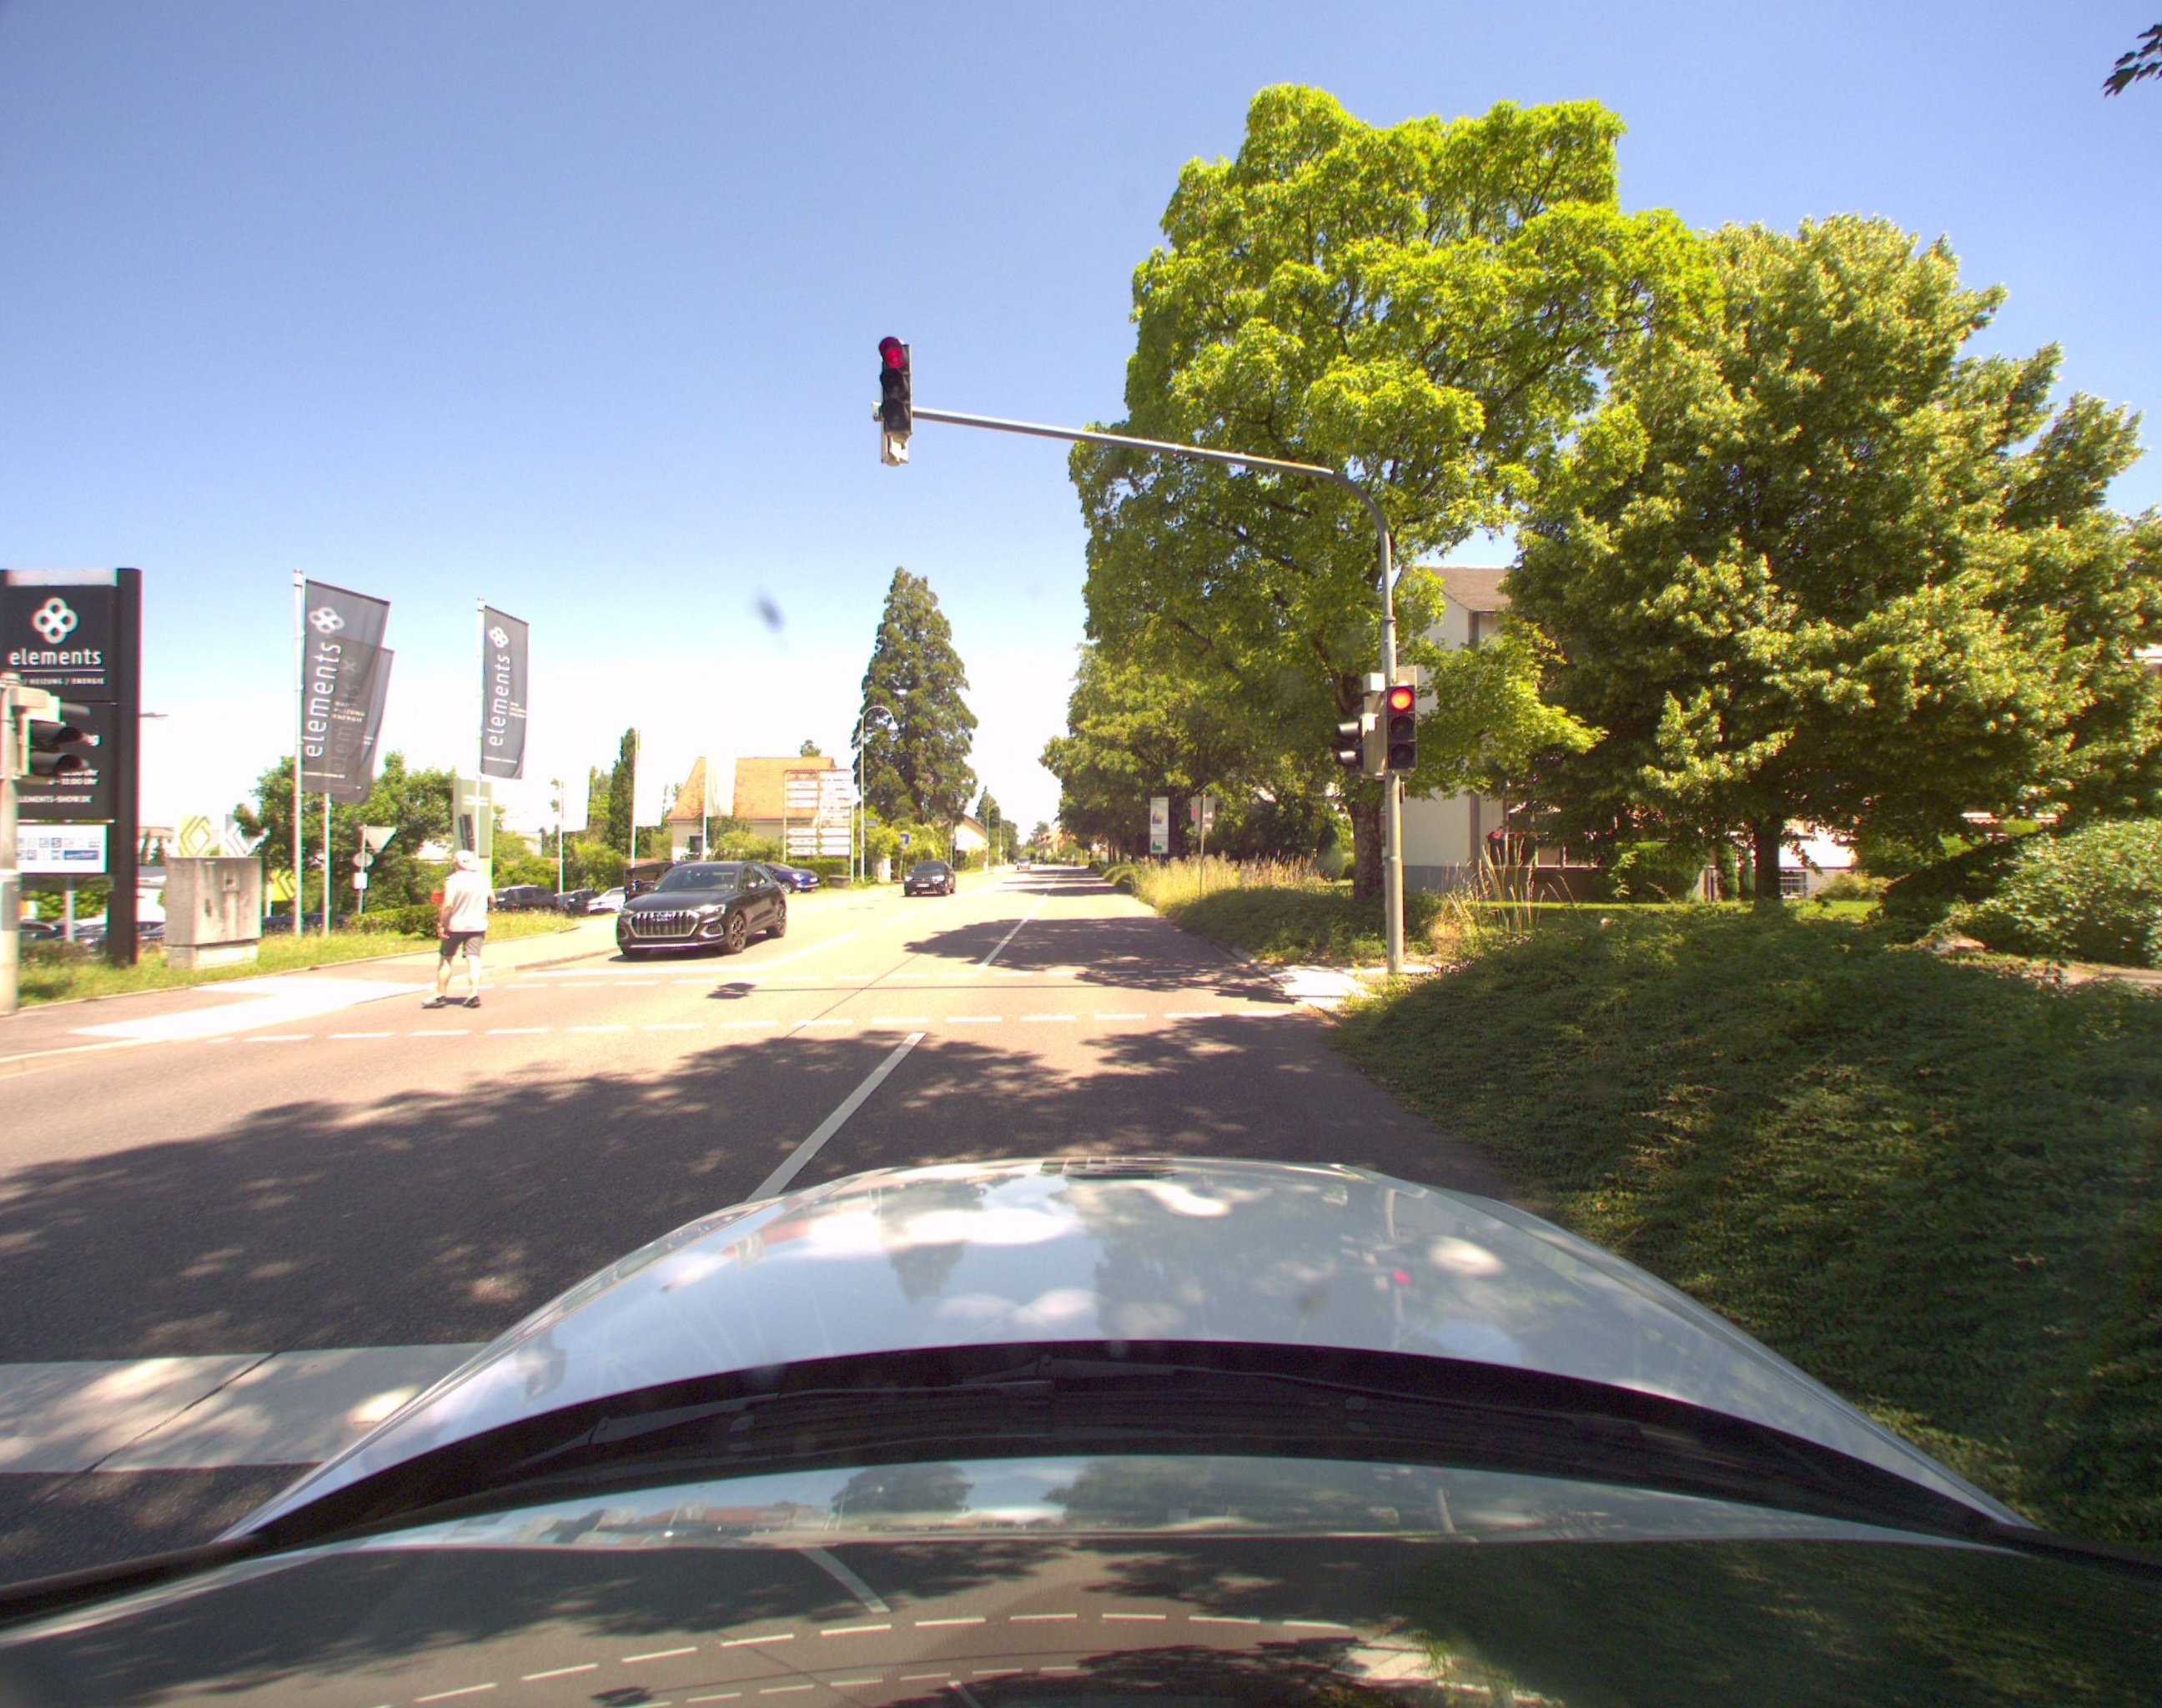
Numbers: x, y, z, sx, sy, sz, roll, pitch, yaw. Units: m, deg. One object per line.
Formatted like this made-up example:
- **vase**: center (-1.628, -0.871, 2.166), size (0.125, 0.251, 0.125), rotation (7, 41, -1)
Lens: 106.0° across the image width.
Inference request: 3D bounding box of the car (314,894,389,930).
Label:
- **car**: center (-40.452, 3.186, 45.262), size (1.816, 1.722, 4.059), rotation (0, 0, -22)

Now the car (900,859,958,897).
- **car**: center (-6.484, 0.990, 35.186), size (1.864, 1.507, 4.049), rotation (-1, 0, -2)

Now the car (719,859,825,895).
- **car**: center (-13.908, 1.021, 36.725), size (4.109, 1.504, 1.782), rotation (-1, 0, 10)

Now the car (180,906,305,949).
- **car**: center (-34.417, 2.976, 33.569), size (1.648, 1.415, 3.853), rotation (-1, 0, -11)

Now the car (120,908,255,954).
- **car**: center (-37.034, 3.142, 33.904), size (1.754, 1.486, 3.983), rotation (-1, 0, -12)

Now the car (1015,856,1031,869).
- **car**: center (-8.092, 1.128, 114.435), size (1.804, 1.762, 4.571), rotation (0, 0, 1)

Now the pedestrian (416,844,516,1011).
- **pedestrian**: center (-6.812, 0.783, 9.030), size (0.538, 1.761, 0.706), rotation (-1, -1, 28)

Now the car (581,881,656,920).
- **car**: center (-23.263, 2.290, 41.141), size (1.806, 1.722, 4.081), rotation (0, 0, -6)

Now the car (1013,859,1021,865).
- **car**: center (-15.761, 2.002, 200.301), size (1.817, 1.552, 3.997), rotation (-1, 0, -2)

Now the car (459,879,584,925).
- **car**: center (-23.453, 1.974, 34.312), size (1.795, 1.722, 4.106), rotation (-1, -1, 16)

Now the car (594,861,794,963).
- **car**: center (-6.882, 0.933, 15.075), size (1.923, 1.555, 4.295), rotation (-1, 0, -5)
